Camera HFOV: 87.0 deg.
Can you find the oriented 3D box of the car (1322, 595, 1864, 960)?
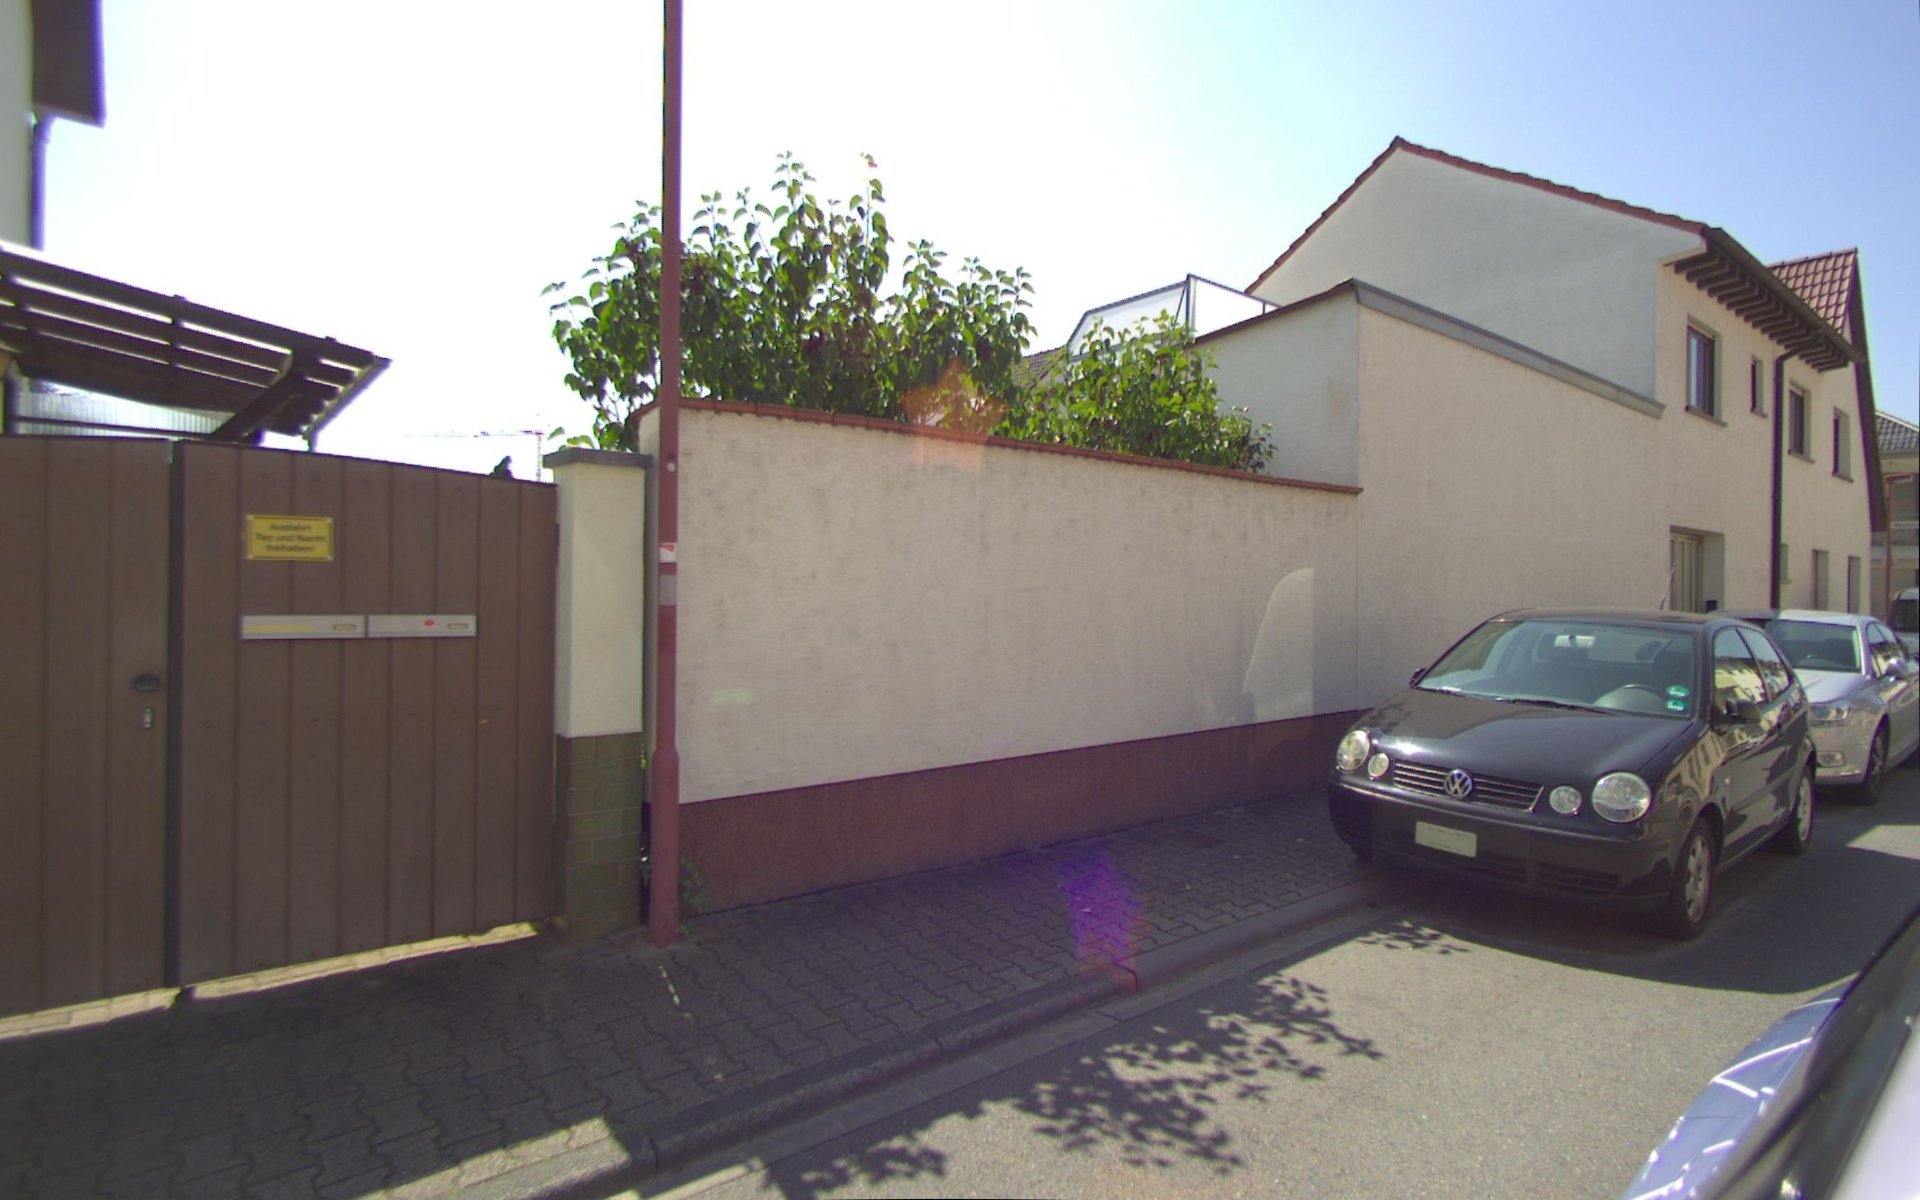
[{"bbox_3d":[4.001,0.713,6.092,4.062,1.454,1.652,0,1,-41],"label":"car"}]

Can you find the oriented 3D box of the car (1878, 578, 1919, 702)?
[{"bbox_3d":[16.359,0.572,16.310,4.767,1.848,1.812,0,-1,-42],"label":"car"}]

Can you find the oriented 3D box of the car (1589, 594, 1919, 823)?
[{"bbox_3d":[7.658,0.736,9.226,4.845,1.499,1.795,0,3,-40],"label":"car"}]
